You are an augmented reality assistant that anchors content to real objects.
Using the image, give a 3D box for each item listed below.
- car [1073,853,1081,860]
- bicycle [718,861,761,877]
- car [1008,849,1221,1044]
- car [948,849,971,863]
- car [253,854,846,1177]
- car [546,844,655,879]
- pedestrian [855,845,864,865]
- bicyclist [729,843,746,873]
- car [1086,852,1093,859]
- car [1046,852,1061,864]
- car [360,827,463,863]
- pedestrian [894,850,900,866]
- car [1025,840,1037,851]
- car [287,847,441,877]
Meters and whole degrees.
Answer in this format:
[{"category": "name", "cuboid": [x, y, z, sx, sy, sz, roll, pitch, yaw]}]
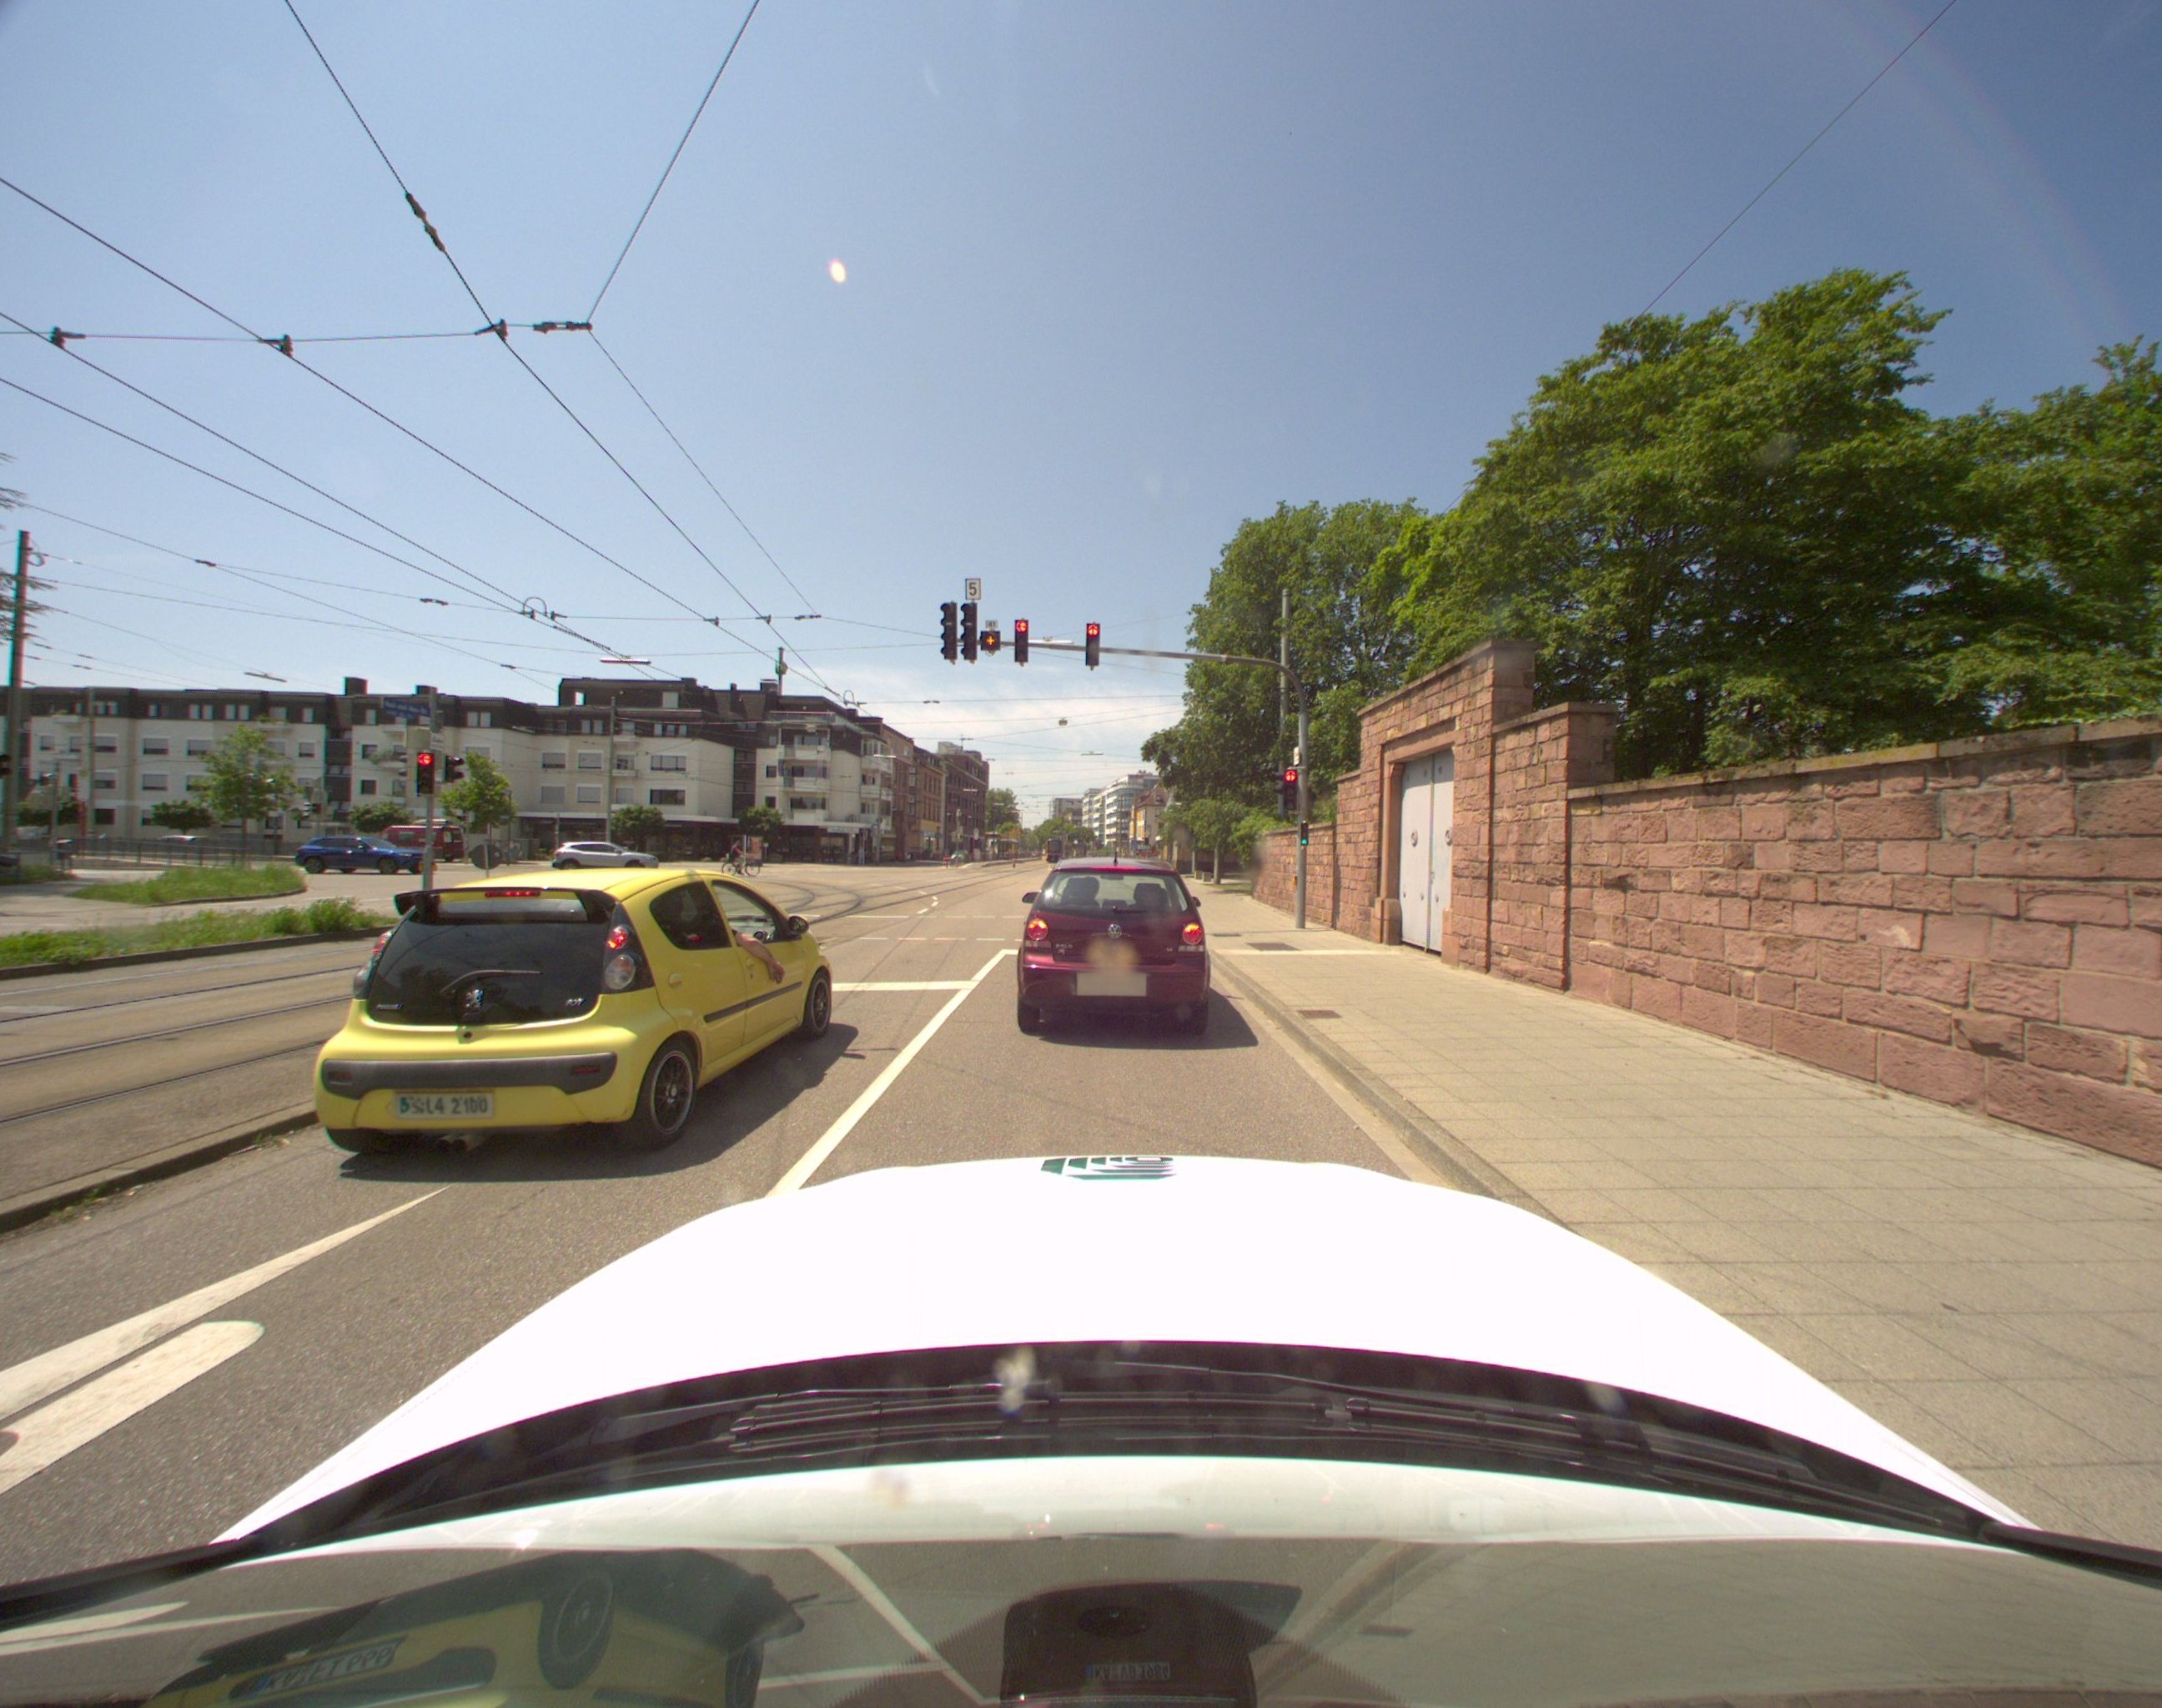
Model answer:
[{"category": "car", "cuboid": [-1.000, 0.560, 200.692, 1.774, 1.609, 4.151, 0, 0, 0]}, {"category": "bicycle", "cuboid": [-17.148, 0.763, 40.950, 1.990, 0.783, 0.462, 0, -1, -26]}, {"category": "car", "cuboid": [0.287, 0.708, 8.293, 1.604, 1.463, 4.086, 1, 0, 1]}, {"category": "car", "cuboid": [-13.584, 0.216, 91.198, 1.682, 1.462, 4.003, 1, 0, 3]}, {"category": "car", "cuboid": [-2.945, 0.754, 5.431, 1.717, 1.445, 3.293, -1, 0, 1]}, {"category": "car", "cuboid": [-22.594, 0.346, 38.500, 4.153, 1.584, 1.926, 0, -1, -21]}, {"category": "pedestrian", "cuboid": [-19.936, 0.088, 73.340, 0.614, 1.754, 0.499, 1, -1, -43]}, {"category": "bicyclist", "cuboid": [-17.258, 0.217, 40.908, 0.753, 1.501, 0.478, 0, -1, -26]}, {"category": "car", "cuboid": [1.872, 0.321, 178.322, 1.567, 1.415, 3.721, -1, 0, 1]}, {"category": "car", "cuboid": [-3.910, 0.552, 117.340, 1.931, 1.641, 4.001, 0, -1, 1]}, {"category": "car", "cuboid": [-45.418, -0.570, 55.343, 5.048, 2.341, 2.244, 0, -1, 0]}, {"category": "pedestrian", "cuboid": [-18.195, 0.392, 80.642, 0.482, 1.541, 0.538, 0, -1, -2]}, {"category": "car", "cuboid": [-9.495, -1.608, 154.876, 1.728, 2.013, 4.002, 1, 0, 2]}, {"category": "car", "cuboid": [-31.365, 0.358, 35.763, 4.764, 1.237, 1.935, 0, -1, -7]}]
